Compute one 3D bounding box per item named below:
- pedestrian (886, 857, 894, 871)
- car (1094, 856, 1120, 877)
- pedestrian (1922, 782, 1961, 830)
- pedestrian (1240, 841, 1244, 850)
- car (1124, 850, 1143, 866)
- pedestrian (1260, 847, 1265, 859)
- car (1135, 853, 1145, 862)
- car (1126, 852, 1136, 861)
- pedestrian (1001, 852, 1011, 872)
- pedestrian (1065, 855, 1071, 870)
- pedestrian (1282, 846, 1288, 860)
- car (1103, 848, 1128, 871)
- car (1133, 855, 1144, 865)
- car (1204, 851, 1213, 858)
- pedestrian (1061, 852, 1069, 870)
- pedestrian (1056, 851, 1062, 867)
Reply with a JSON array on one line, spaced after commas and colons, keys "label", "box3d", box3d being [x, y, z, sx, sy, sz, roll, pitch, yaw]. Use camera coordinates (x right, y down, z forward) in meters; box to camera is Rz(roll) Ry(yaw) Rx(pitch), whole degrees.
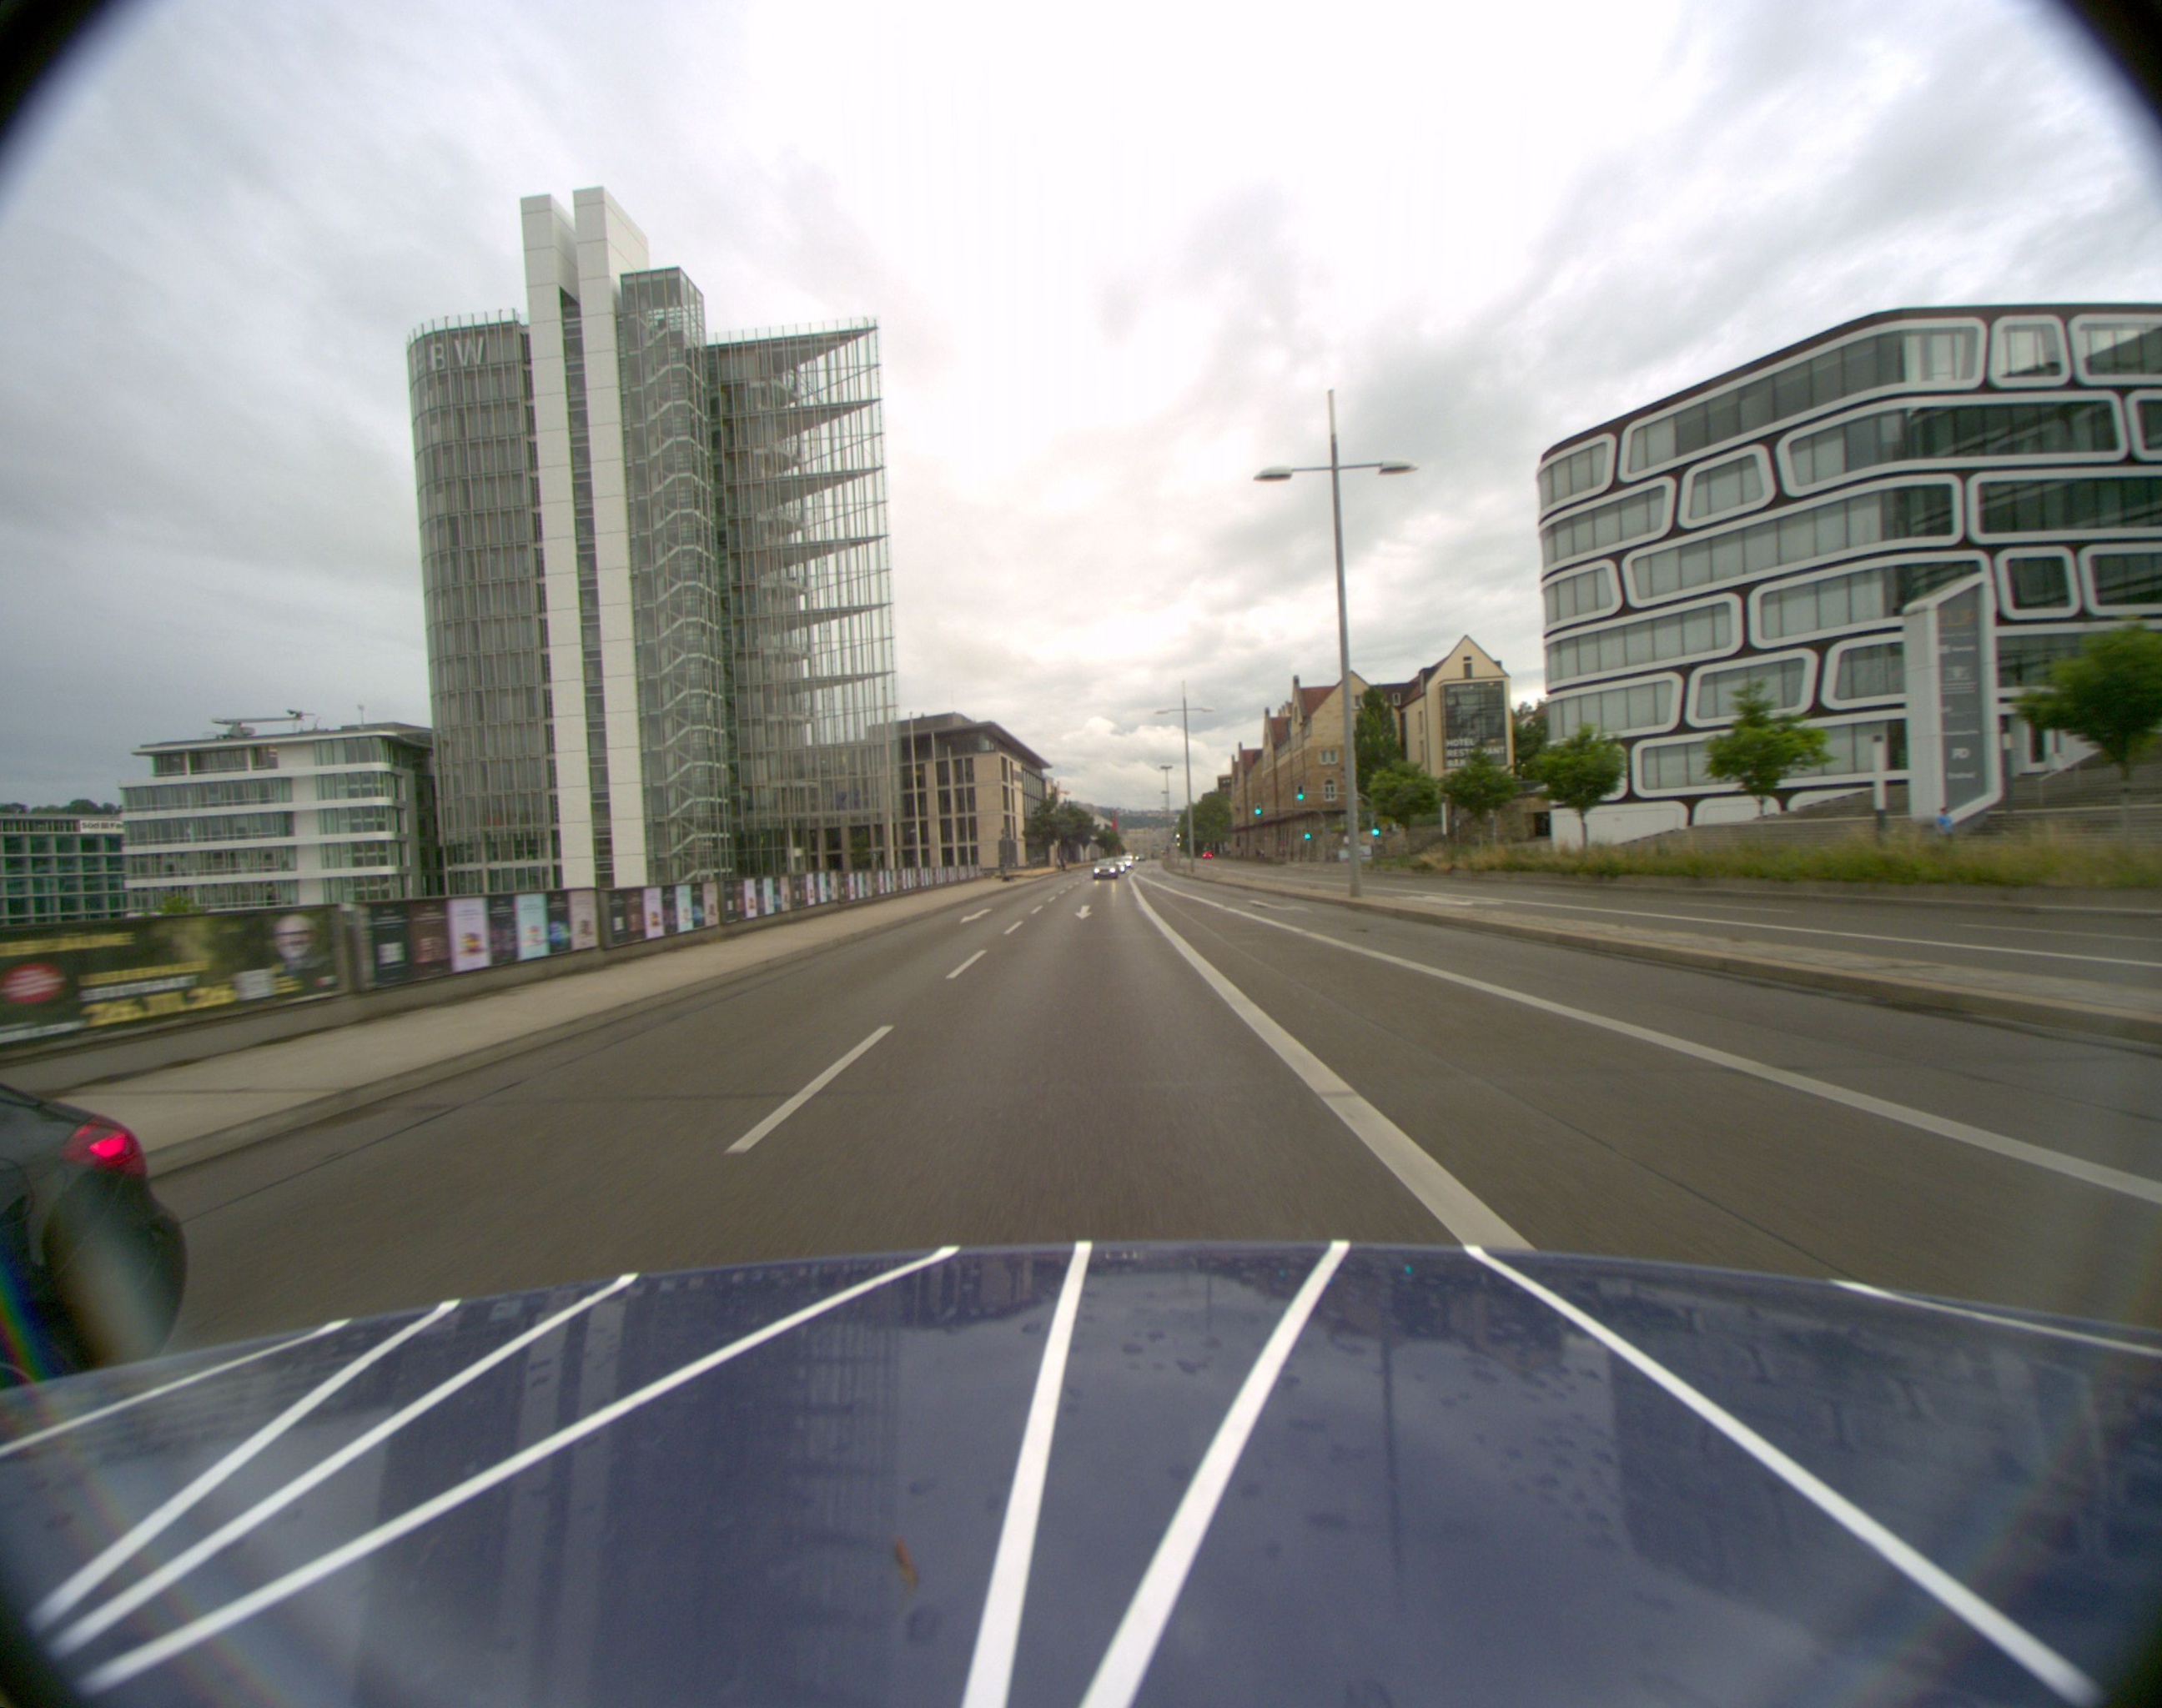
[{"label": "pedestrian", "box3d": [-24.189, 1.227, 96.117, 0.634, 1.735, 0.635, -1, 2, 26]}, {"label": "car", "box3d": [1.852, 0.884, 55.057, 1.684, 1.379, 3.475, -2, 1, -1]}, {"label": "pedestrian", "box3d": [29.656, -1.634, 26.190, 0.612, 1.602, 0.639, -2, 2, 3]}, {"label": "pedestrian", "box3d": [30.064, -1.581, 141.620, 0.677, 1.769, 0.684, -2, 2, 6]}, {"label": "car", "box3d": [6.278, 0.461, 90.508, 1.970, 1.815, 3.930, -3, -1, 5]}, {"label": "pedestrian", "box3d": [26.609, -0.179, 111.395, 0.677, 1.769, 0.684, -2, 2, 6]}, {"label": "car", "box3d": [14.059, 0.797, 180.422, 1.999, 2.002, 3.998, -2, 1, -1]}, {"label": "car", "box3d": [12.489, 0.681, 189.328, 1.999, 2.002, 3.998, -2, 1, -1]}, {"label": "pedestrian", "box3d": [-6.375, 0.667, 64.208, 0.660, 1.601, 0.547, -3, 0, 6]}, {"label": "pedestrian", "box3d": [-1.347, 0.845, 77.827, 0.542, 1.519, 0.600, -2, 2, 3]}, {"label": "pedestrian", "box3d": [25.756, -0.098, 95.955, 0.677, 1.769, 0.684, -2, 2, 6]}, {"label": "car", "box3d": [3.189, 0.473, 70.965, 1.999, 2.002, 3.998, -2, 1, -1]}, {"label": "car", "box3d": [12.803, 1.364, 168.319, 1.999, 2.002, 3.998, -2, 1, -1]}, {"label": "car", "box3d": [28.118, 0.010, 167.767, 1.714, 1.455, 4.002, -3, 0, 6]}, {"label": "pedestrian", "box3d": [-1.688, 0.713, 79.100, 0.727, 1.761, 0.783, -2, 2, 4]}, {"label": "pedestrian", "box3d": [-2.193, 0.479, 77.099, 0.461, 1.590, 0.656, -2, 2, 8]}]
